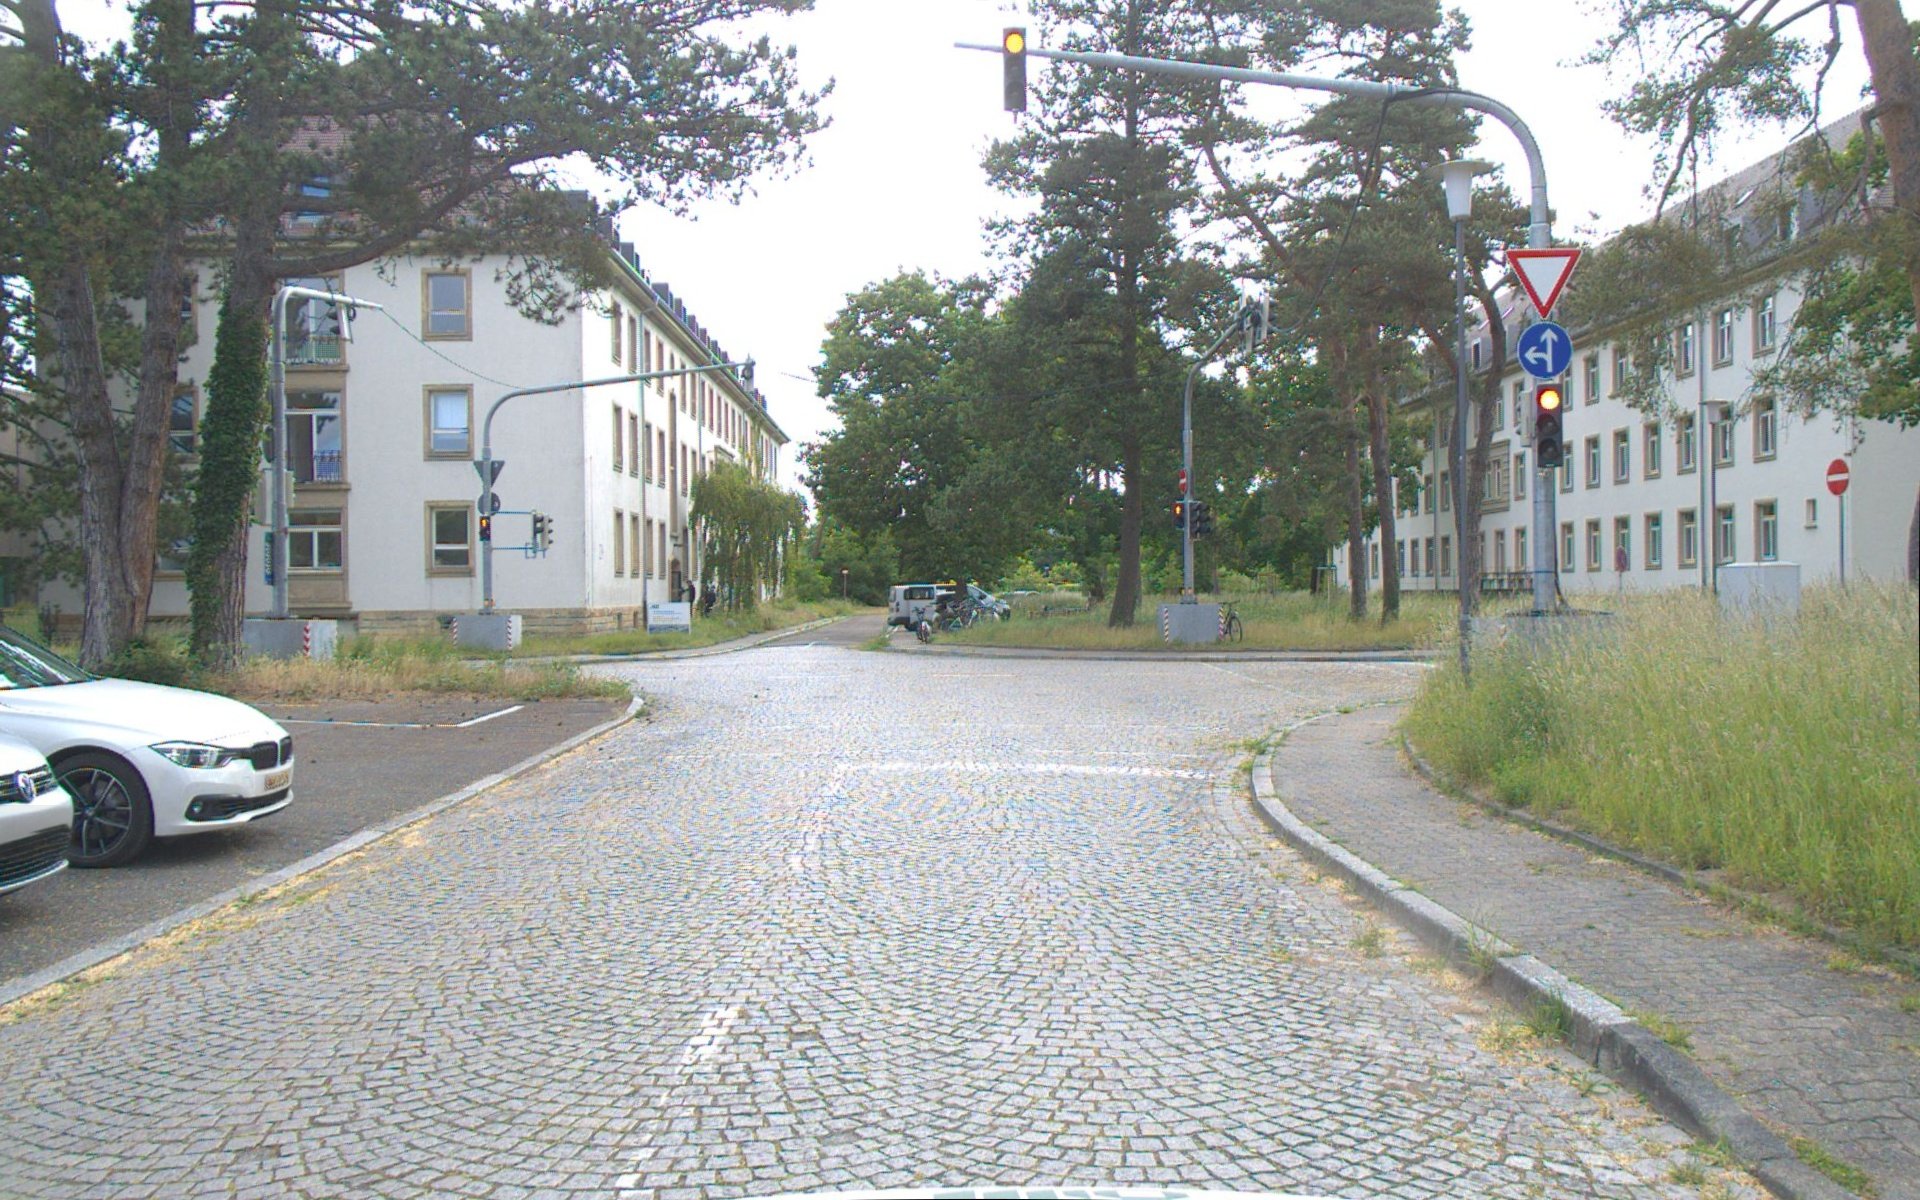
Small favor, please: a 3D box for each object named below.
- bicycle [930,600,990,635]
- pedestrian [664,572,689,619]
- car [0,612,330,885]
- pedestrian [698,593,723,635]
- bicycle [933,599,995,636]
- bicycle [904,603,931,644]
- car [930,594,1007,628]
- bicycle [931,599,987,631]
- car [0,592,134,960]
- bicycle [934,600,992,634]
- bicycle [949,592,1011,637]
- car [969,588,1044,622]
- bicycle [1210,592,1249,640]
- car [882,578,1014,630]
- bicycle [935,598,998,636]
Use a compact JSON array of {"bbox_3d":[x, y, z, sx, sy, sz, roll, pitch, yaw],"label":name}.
[{"bbox_3d":[-0.007,0.567,54.053,1.935,1.088,0.582,-1,0,-31],"label":"bicycle"},{"bbox_3d":[-11.561,-0.184,67.401,0.766,1.869,0.732,-1,0,-33],"label":"pedestrian"},{"bbox_3d":[-6.104,0.815,10.058,3.868,1.446,1.649,2,0,-2],"label":"car"},{"bbox_3d":[-10.047,0.571,66.591,0.757,1.646,0.741,-1,0,10],"label":"pedestrian"},{"bbox_3d":[0.127,0.550,52.572,1.918,1.136,0.587,-1,0,-8],"label":"bicycle"},{"bbox_3d":[-1.264,0.674,48.650,0.591,1.152,1.959,-1,0,-7],"label":"bicycle"},{"bbox_3d":[0.328,0.442,66.618,2.948,1.290,1.533,-1,0,-7],"label":"car"},{"bbox_3d":[-0.037,0.525,59.089,1.931,1.088,0.583,-1,0,-26],"label":"bicycle"},{"bbox_3d":[-6.140,0.720,7.520,3.870,1.590,1.649,2,0,-4],"label":"car"},{"bbox_3d":[0.115,0.558,55.406,1.935,1.088,0.582,-1,0,-31],"label":"bicycle"},{"bbox_3d":[0.639,0.455,53.415,1.918,1.408,0.587,-1,0,-8],"label":"bicycle"},{"bbox_3d":[2.073,0.205,73.952,3.168,1.441,1.724,-1,0,-4],"label":"car"},{"bbox_3d":[6.510,0.373,39.978,0.574,1.125,1.961,-1,0,-1],"label":"bicycle"},{"bbox_3d":[-0.529,0.154,70.009,5.264,1.958,2.020,-2,0,-10],"label":"car"},{"bbox_3d":[0.201,0.529,51.941,1.918,1.152,0.587,-1,0,-8],"label":"bicycle"}]
